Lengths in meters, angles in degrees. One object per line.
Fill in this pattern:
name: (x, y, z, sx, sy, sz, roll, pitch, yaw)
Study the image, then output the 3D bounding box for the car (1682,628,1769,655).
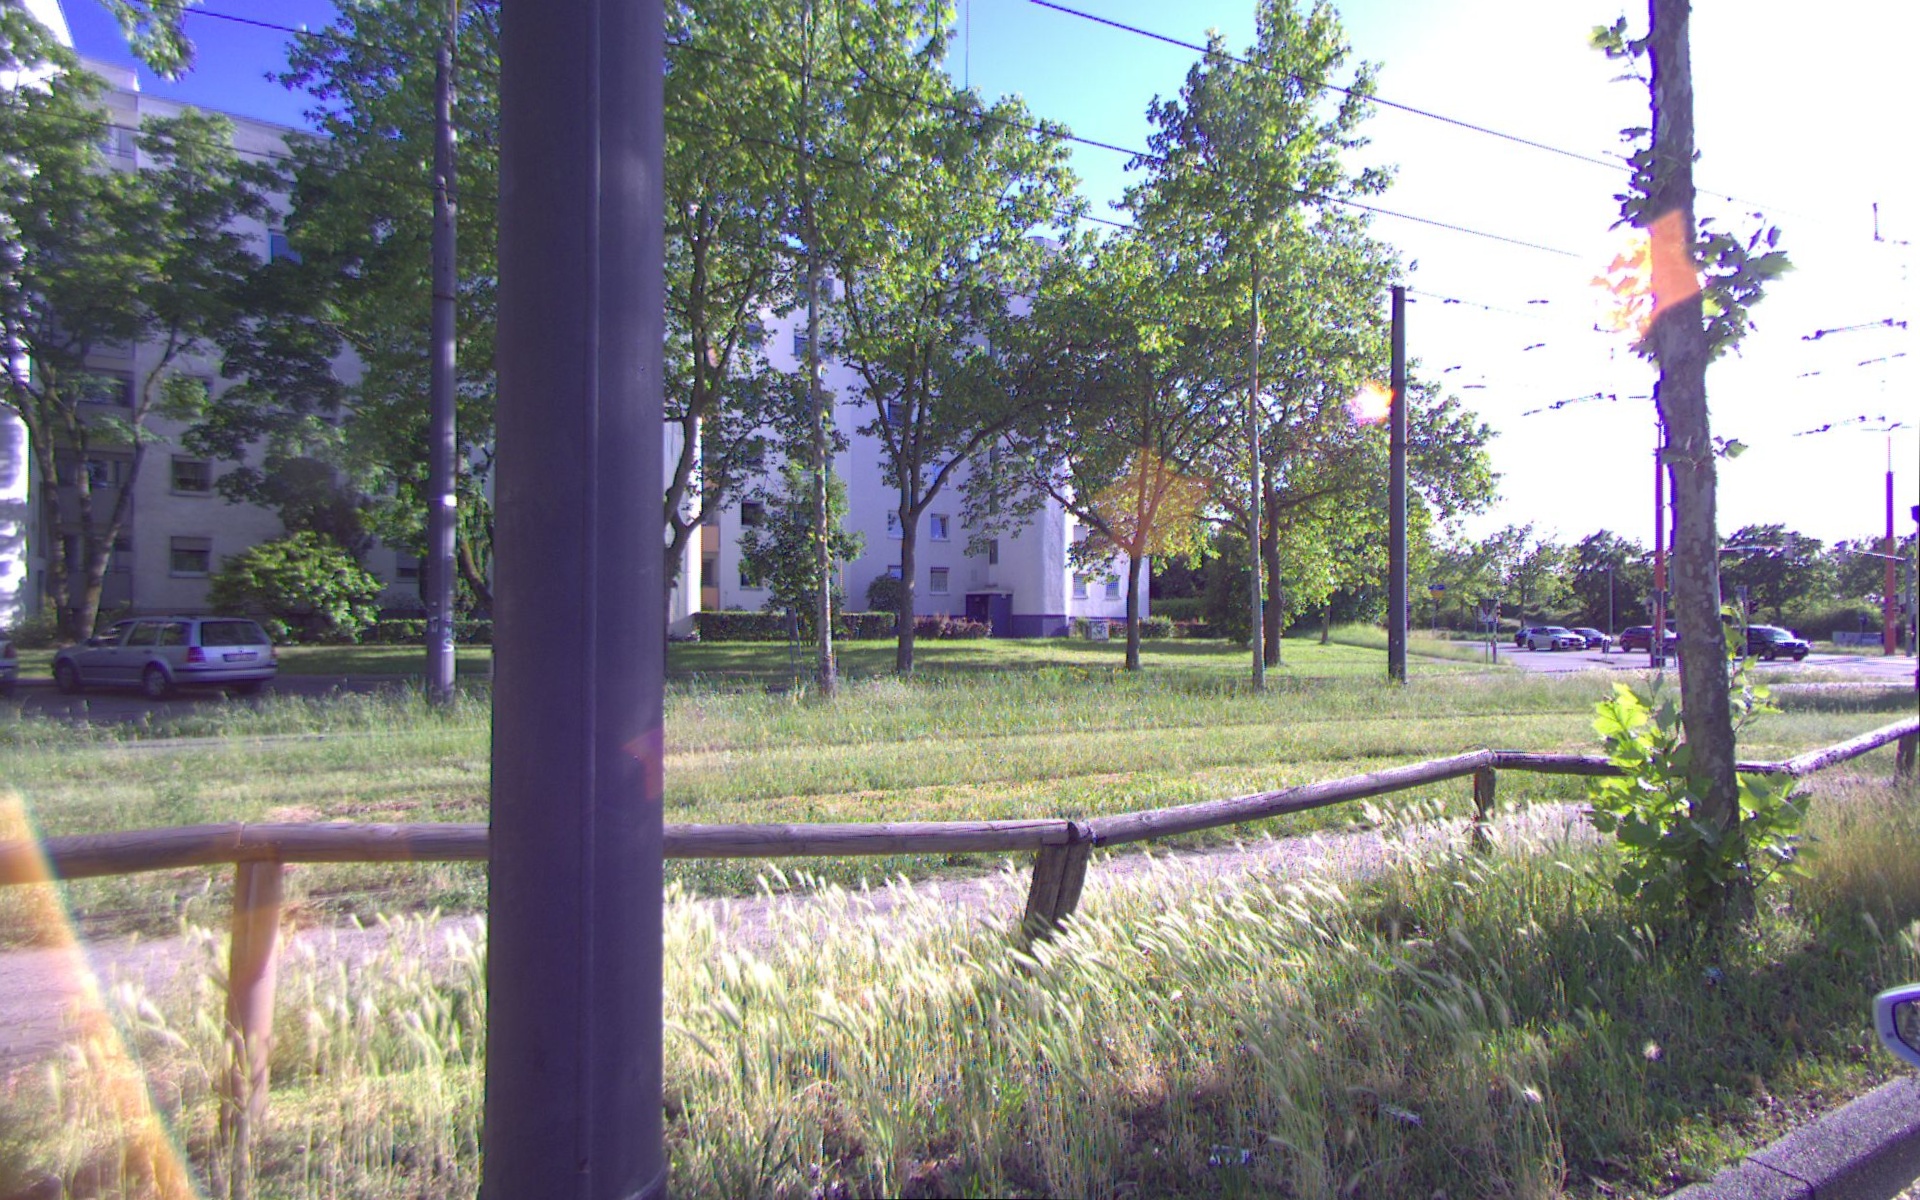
car: (45.653, 2.462, 60.037, 1.877, 1.483, 4.222, 1, -1, -2)

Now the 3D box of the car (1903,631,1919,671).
car: (39.063, 2.000, 38.013, 1.961, 1.596, 4.928, 1, -1, -3)

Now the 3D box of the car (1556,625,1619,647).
car: (44.997, 2.562, 72.137, 1.877, 1.483, 4.055, 1, -1, -3)

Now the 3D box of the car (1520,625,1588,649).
car: (42.267, 2.603, 71.620, 1.877, 1.619, 4.795, 1, -1, -2)

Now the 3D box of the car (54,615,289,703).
car: (-14.483, 1.025, 18.481, 3.609, 1.452, 1.732, 0, -1, 20)

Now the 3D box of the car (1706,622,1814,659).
car: (42.493, 2.119, 53.513, 1.877, 1.860, 4.795, 1, -1, -2)

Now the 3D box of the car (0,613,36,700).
car: (-17.927, 0.926, 17.137, 3.609, 1.452, 1.703, 0, -1, 20)

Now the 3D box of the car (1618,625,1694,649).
car: (45.521, 2.403, 65.802, 1.877, 1.483, 4.373, 1, -1, -2)

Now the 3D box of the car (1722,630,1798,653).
car: (59.318, 3.076, 74.600, 1.961, 1.617, 4.466, 1, -1, -3)

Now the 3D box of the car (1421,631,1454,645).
car: (61.276, 4.840, 128.912, 1.961, 1.617, 4.466, 1, -1, -3)
